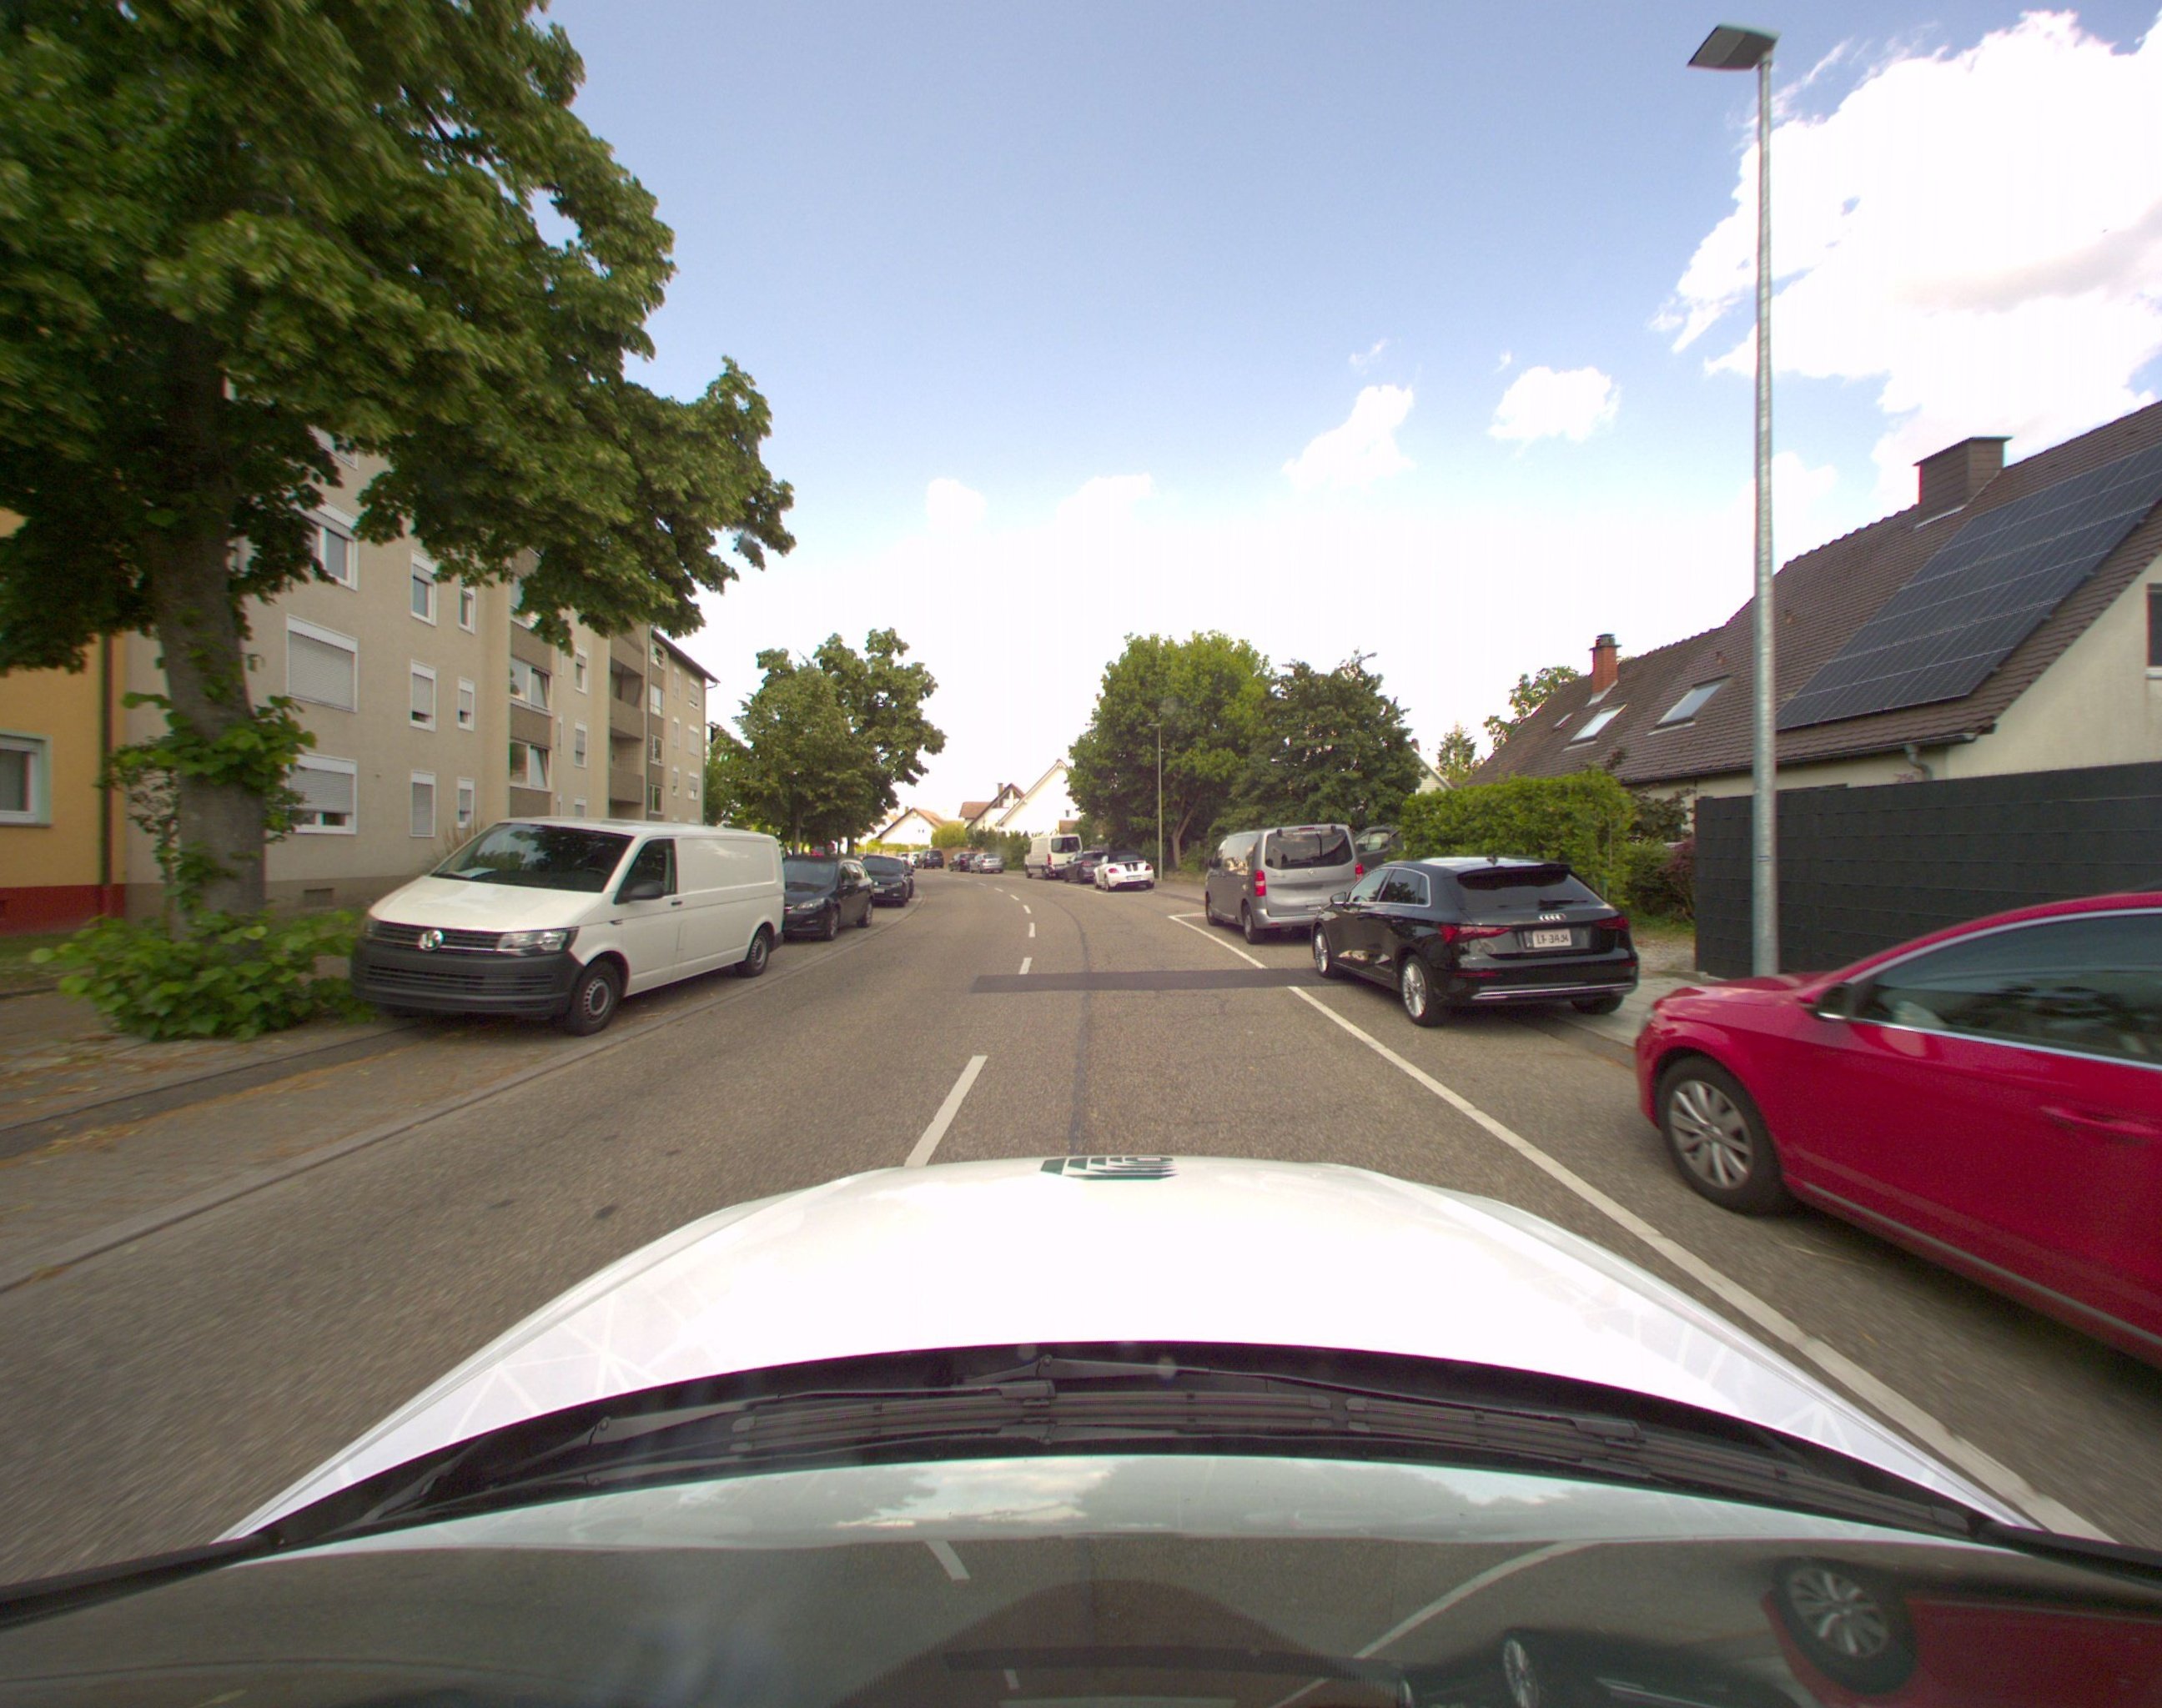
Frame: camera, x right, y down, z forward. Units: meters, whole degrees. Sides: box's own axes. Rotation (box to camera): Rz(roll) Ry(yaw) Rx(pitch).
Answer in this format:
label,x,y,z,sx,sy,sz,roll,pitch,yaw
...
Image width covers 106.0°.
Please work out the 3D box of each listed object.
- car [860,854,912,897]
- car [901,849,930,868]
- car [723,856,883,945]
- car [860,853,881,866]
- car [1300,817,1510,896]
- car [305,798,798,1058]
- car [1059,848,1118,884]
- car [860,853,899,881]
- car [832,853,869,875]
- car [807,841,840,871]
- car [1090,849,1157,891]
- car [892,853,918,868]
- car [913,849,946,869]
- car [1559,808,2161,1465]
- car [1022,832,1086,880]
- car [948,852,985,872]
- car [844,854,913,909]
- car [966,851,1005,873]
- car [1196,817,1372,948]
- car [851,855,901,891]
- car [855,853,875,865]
label,x,y,z,sx,sy,sz,roll,pitch,yaw
car,-7.426,0.798,31.294,1.761,1.489,4.551,1,-1,-12
car,-16.228,0.418,79.827,1.805,1.748,3.938,0,0,-27
car,-5.317,0.804,16.252,1.755,1.489,4.501,0,0,-2
car,-25.765,0.631,99.495,1.804,1.523,3.940,0,0,-25
car,8.938,0.060,22.984,5.300,2.057,2.008,0,0,15
car,-5.120,0.565,9.110,1.872,2.009,5.324,1,0,2
car,0.296,0.523,38.389,1.721,1.585,4.102,0,0,-16
car,-11.684,0.720,47.060,1.766,1.489,4.315,2,0,-20
car,-17.401,0.745,61.287,1.796,1.458,4.396,4,-2,-27
car,-22.997,0.168,72.584,2.072,2.501,5.796,4,-1,-23
car,1.566,0.577,31.608,1.740,1.512,4.444,0,0,-9
car,-18.220,0.618,84.150,1.804,1.523,3.939,0,0,-26
car,-13.800,0.429,74.212,1.804,1.748,4.544,0,0,-26
car,3.523,0.675,2.157,1.843,1.579,4.734,0,0,1
car,-1.574,0.088,44.741,2.122,2.441,5.861,0,0,-16
car,-9.020,0.571,63.683,1.745,1.509,4.440,0,0,-24
car,-6.135,0.791,25.058,1.760,1.489,4.018,1,0,-10
car,-6.872,0.554,58.534,1.744,1.457,4.333,0,0,-22
car,3.485,0.427,15.025,1.837,1.944,4.872,-3,0,-2
car,-8.992,0.815,35.995,1.837,1.439,4.076,2,0,-11
car,-27.545,0.620,103.628,1.804,1.523,3.940,0,0,-25
